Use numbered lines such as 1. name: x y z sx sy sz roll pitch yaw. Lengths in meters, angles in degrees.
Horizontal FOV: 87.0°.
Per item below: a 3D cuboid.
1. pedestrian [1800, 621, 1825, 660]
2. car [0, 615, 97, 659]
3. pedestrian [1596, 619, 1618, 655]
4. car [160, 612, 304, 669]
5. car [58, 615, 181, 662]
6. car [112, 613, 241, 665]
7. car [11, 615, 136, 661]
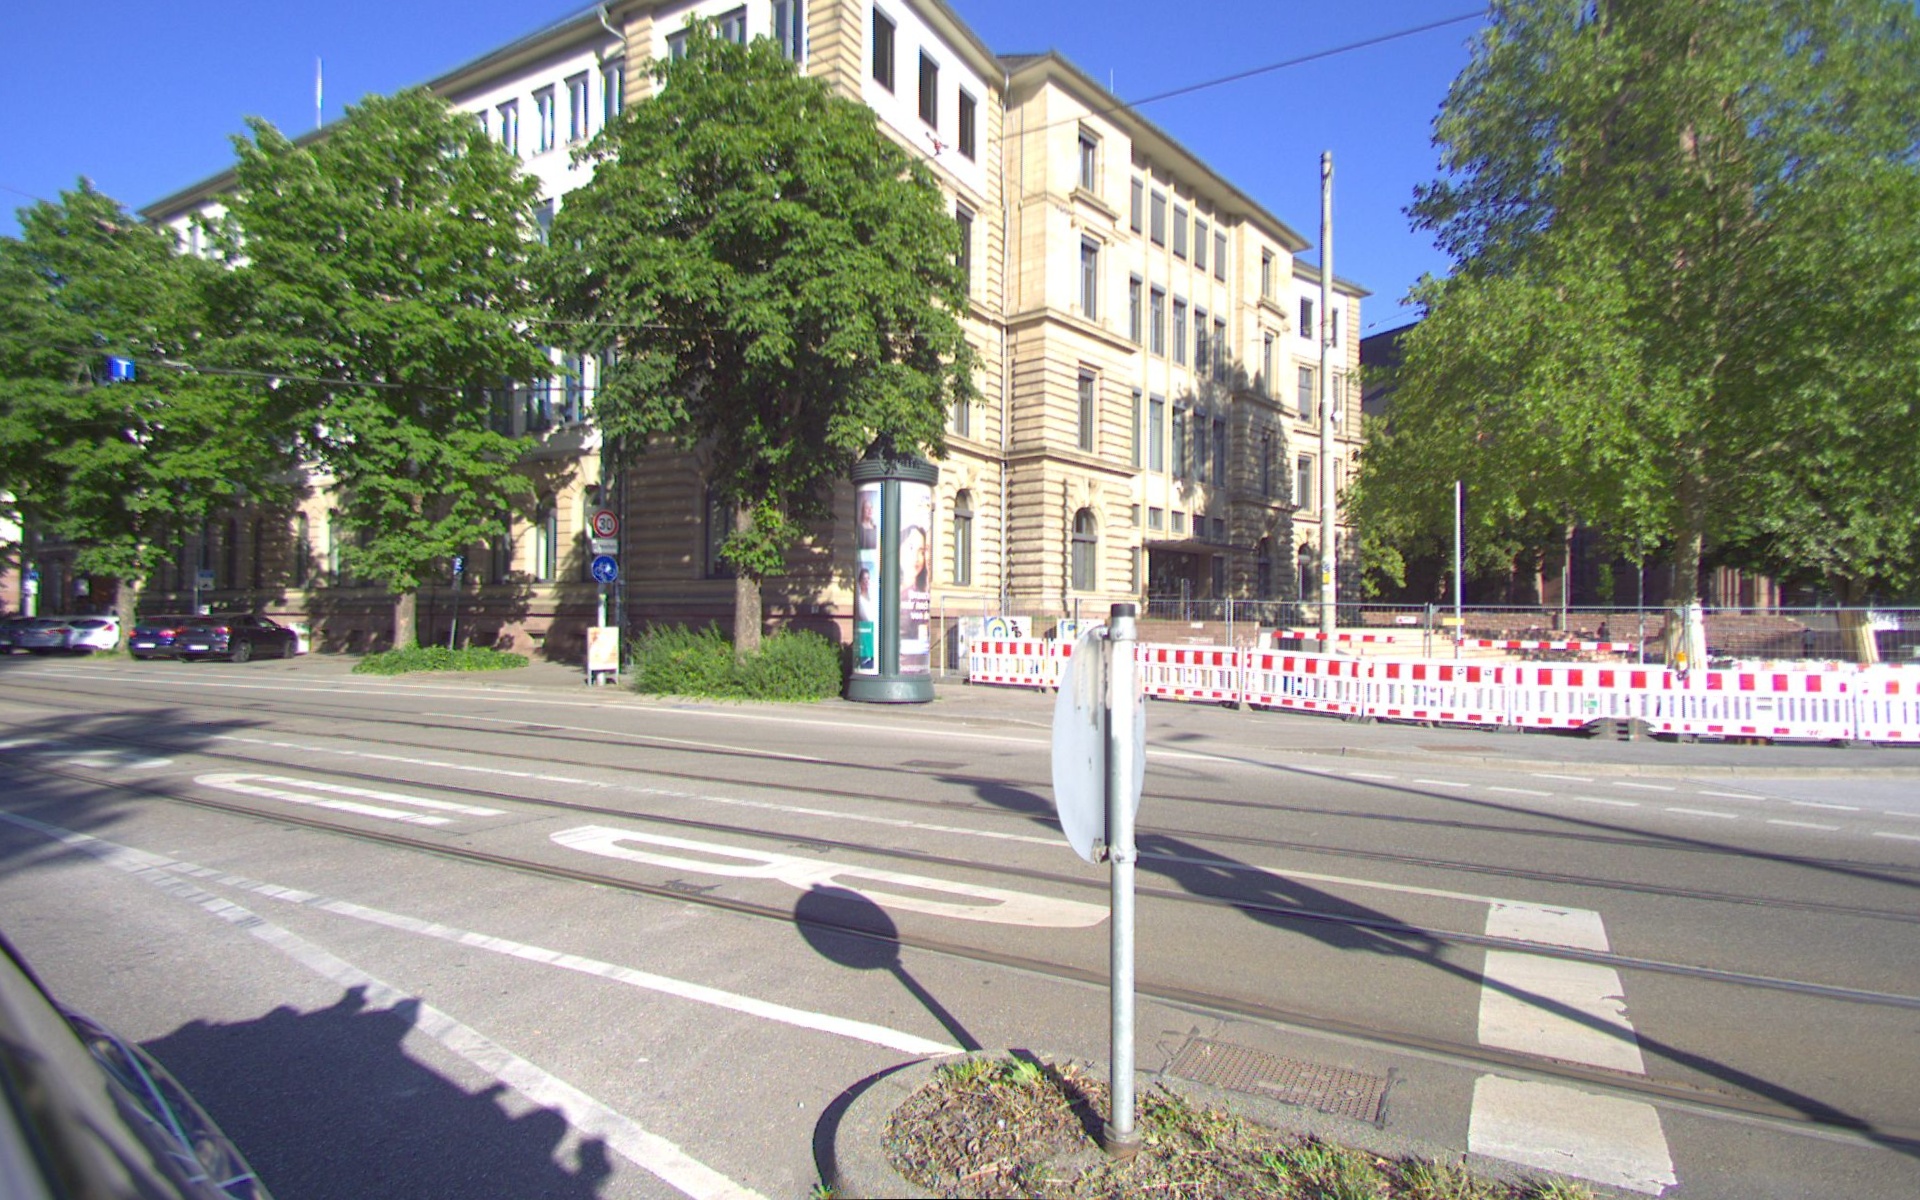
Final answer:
1. pedestrian: 36.873 1.723 43.778 0.666 1.660 0.762 1 -2 -45
2. car: -36.242 1.415 39.773 1.626 1.572 3.652 -1 0 -3
3. pedestrian: 30.526 1.726 47.743 0.627 1.660 0.677 1 -2 -37
4. car: -23.612 1.262 33.035 1.819 1.643 4.184 -1 0 -3
5. car: -30.913 1.375 37.354 1.626 1.572 3.652 -1 0 -3
6. car: -26.242 1.272 34.037 1.626 1.572 3.652 -1 0 -3
7. car: -33.226 1.393 38.065 1.626 1.572 3.652 -1 0 -3
